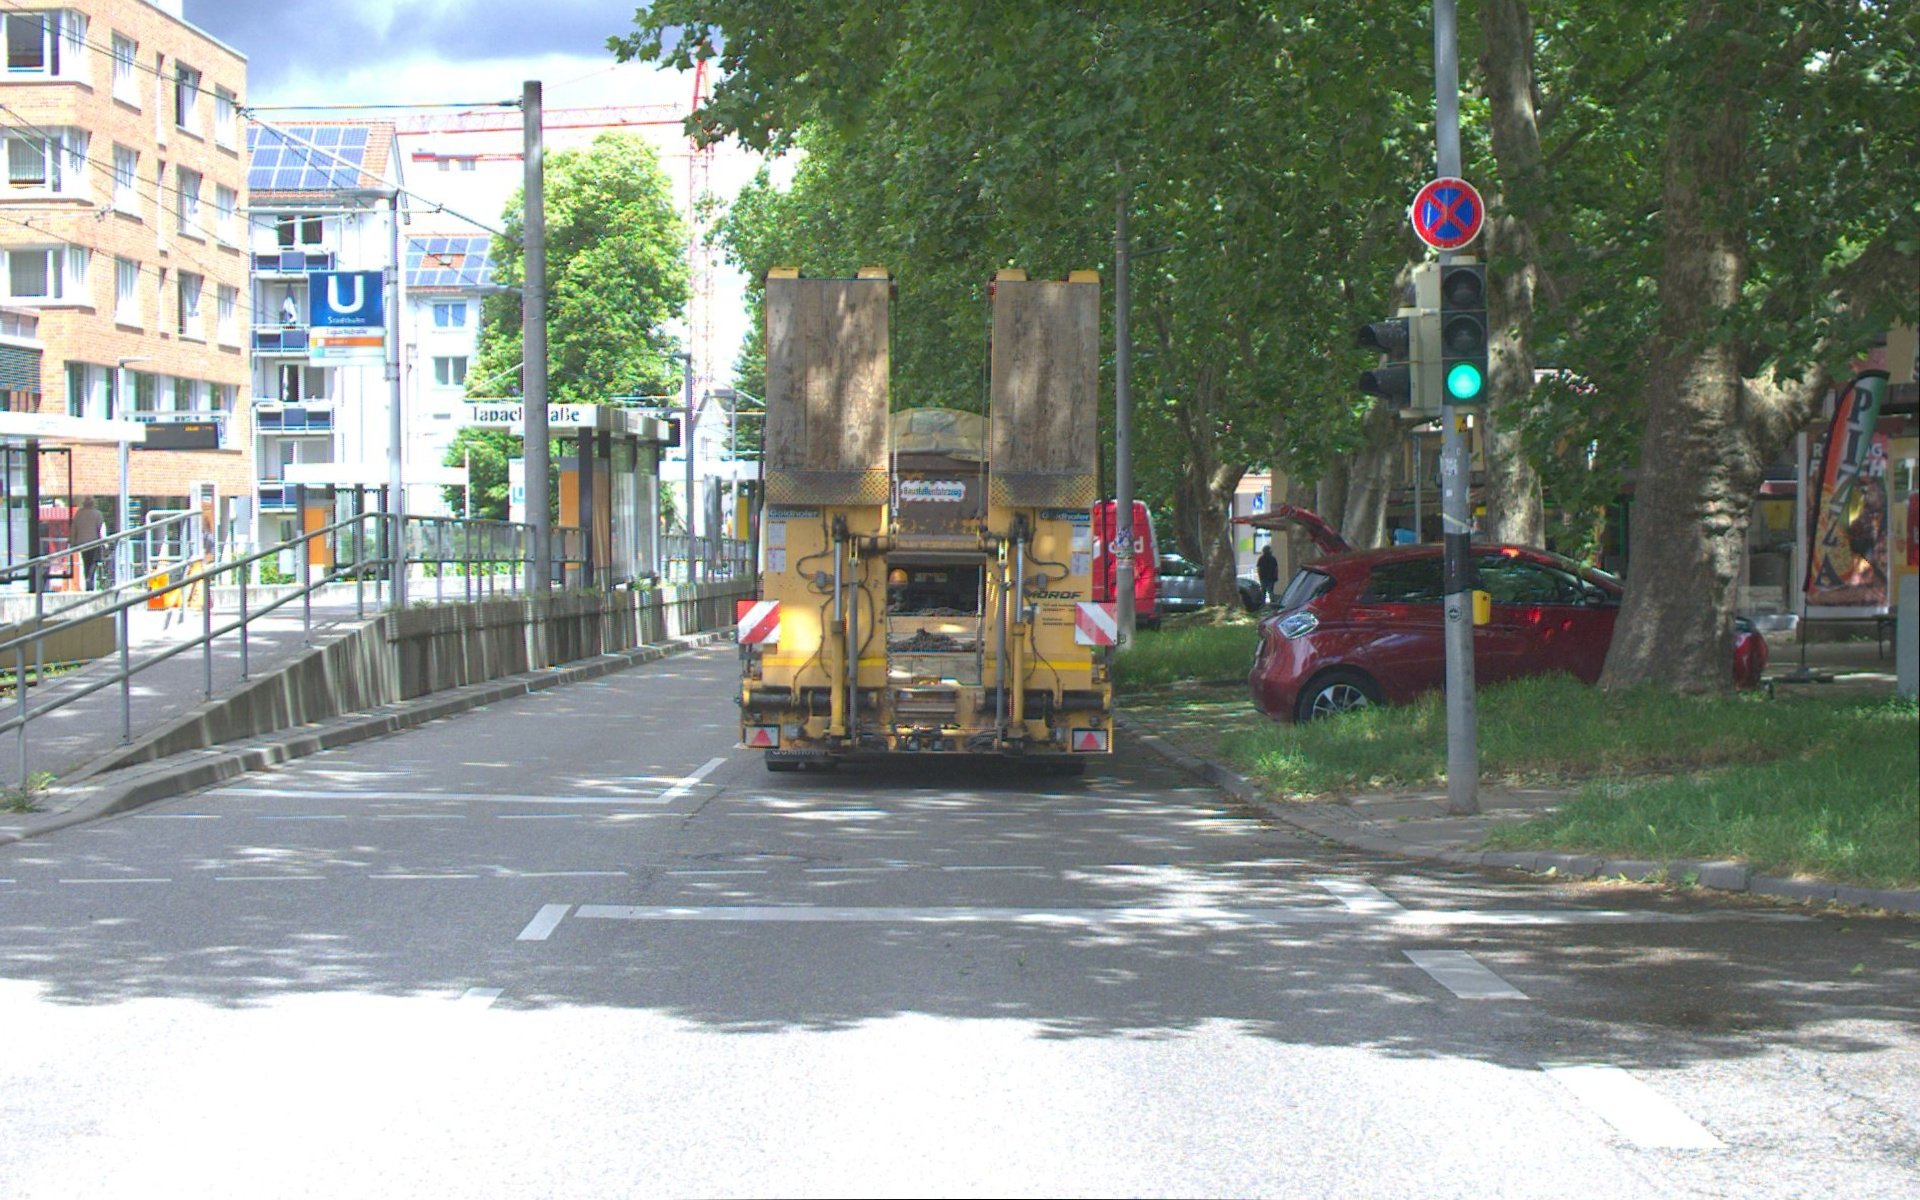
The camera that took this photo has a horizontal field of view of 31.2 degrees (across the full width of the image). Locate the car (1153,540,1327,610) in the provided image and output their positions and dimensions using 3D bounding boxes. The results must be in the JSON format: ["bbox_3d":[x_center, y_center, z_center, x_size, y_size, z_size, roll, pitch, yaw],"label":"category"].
[{"bbox_3d":[6.605,-0.599,81.277,3.828,1.557,1.620,-1,1,-6],"label":"car"}]

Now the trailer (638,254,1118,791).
[{"bbox_3d":[-0.554,-0.592,28.512,3.154,3.540,11.097,1,1,0],"label":"trailer"}]

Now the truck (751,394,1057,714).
[{"bbox_3d":[-0.553,-0.507,38.001,2.989,3.124,7.888,1,1,0],"label":"truck"}]

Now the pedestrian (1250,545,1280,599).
[{"bbox_3d":[7.936,-0.737,89.387,0.694,1.387,0.512,-1,1,-3],"label":"pedestrian"}]

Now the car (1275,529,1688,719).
[{"bbox_3d":[4.727,0.207,31.439,3.406,1.509,1.610,-3,1,-3],"label":"car"}]

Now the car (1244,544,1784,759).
[{"bbox_3d":[4.287,0.383,27.089,4.030,1.606,1.730,-1,1,3],"label":"car"}]

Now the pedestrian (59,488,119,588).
[{"bbox_3d":[-14.327,-1.012,56.556,0.751,1.623,0.816,1,1,1],"label":"pedestrian"}]

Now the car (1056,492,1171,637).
[{"bbox_3d":[2.870,-0.688,65.730,1.904,2.572,6.834,-2,1,1],"label":"car"}]

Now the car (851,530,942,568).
[{"bbox_3d":[-3.776,-3.030,205.471,5.088,2.095,1.977,2,0,-13],"label":"car"}]
